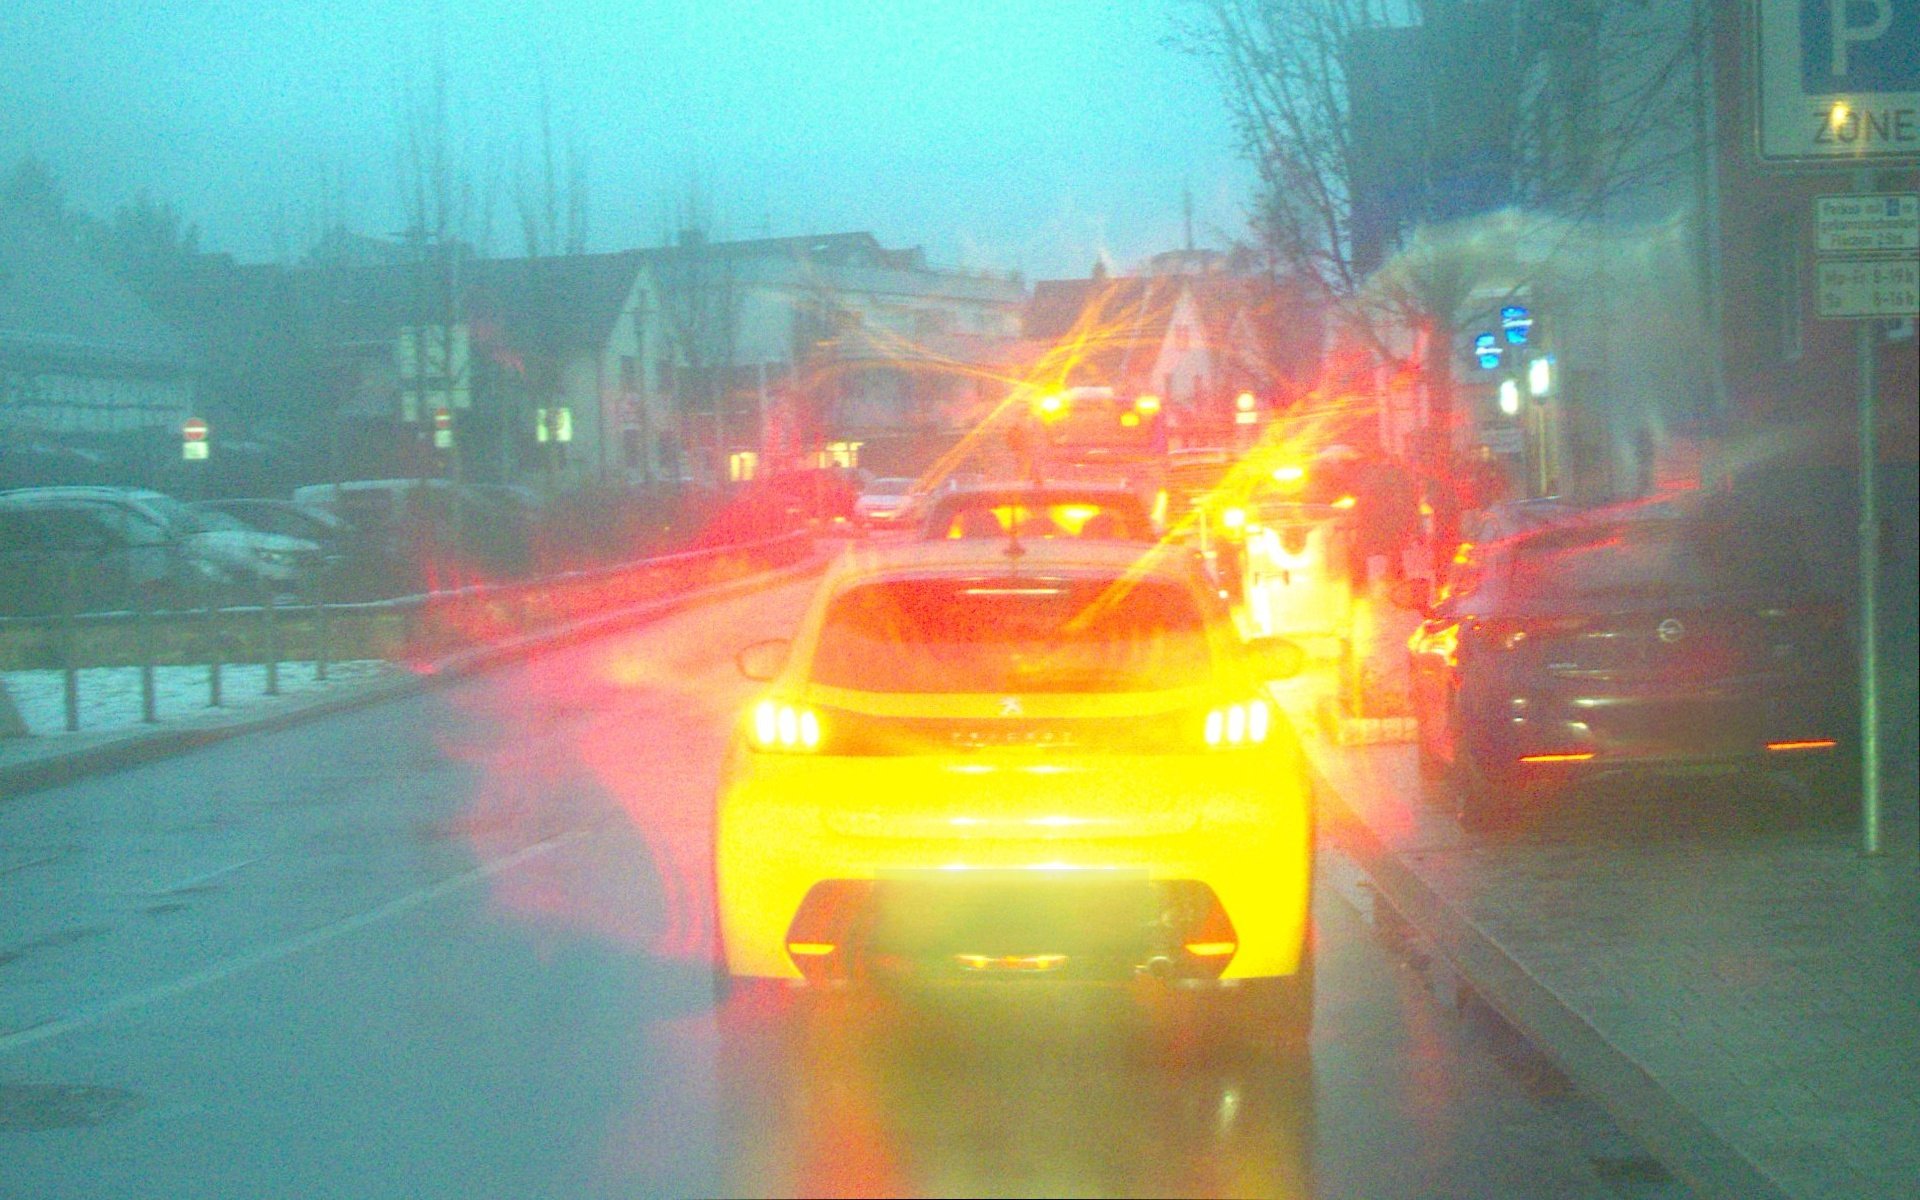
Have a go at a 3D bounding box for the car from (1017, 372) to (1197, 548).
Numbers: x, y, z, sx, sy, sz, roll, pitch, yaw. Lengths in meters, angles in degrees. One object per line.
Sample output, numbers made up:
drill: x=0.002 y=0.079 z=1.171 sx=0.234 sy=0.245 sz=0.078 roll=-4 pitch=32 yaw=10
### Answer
car: x=2.717 y=-2.547 z=64.371 sx=3.191 sy=3.021 sz=6.305 roll=0 pitch=0 yaw=2

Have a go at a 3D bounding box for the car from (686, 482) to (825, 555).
car: x=-6.416 y=-2.536 z=107.560 sx=1.994 sy=2.159 sz=4.383 roll=0 pitch=0 yaw=-44

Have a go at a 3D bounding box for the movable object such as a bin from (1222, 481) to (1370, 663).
movable object such as a bin: x=2.853 y=-0.258 z=29.347 sx=1.129 sy=1.415 sz=1.417 roll=-4 pitch=2 yaw=5

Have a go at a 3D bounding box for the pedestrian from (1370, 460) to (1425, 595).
pedestrian: x=5.600 y=-0.932 z=44.058 sx=0.573 sy=1.694 sz=0.653 roll=-3 pitch=1 yaw=4

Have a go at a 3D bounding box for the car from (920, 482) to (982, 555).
car: x=-0.256 y=-2.545 z=108.611 sx=1.919 sy=2.208 sz=3.975 roll=0 pitch=0 yaw=0

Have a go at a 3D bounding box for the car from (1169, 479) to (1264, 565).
car: x=5.744 y=-1.756 z=77.432 sx=1.998 sy=1.858 sz=4.083 roll=-1 pitch=1 yaw=3

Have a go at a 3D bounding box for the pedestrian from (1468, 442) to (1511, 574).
pedestrian: x=7.254 y=-1.263 z=47.090 sx=0.529 sy=1.794 sz=0.864 roll=0 pitch=2 yaw=12

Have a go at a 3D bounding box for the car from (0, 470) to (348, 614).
car: x=-8.811 y=-0.634 z=37.609 sx=3.795 sy=1.517 sz=1.714 roll=0 pitch=1 yaw=9

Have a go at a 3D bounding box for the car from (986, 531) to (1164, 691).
car: x=1.056 y=0.060 z=31.499 sx=1.541 sy=1.327 sz=3.311 roll=0 pitch=2 yaw=2

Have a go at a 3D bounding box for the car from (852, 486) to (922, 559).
car: x=-2.119 y=-2.255 z=100.729 sx=1.919 sy=2.020 sz=3.975 roll=0 pitch=0 yaw=0

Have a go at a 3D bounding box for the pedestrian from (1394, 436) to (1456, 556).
pedestrian: x=6.876 y=-1.541 z=50.809 sx=0.713 sy=1.709 sz=1.034 roll=-2 pitch=2 yaw=16

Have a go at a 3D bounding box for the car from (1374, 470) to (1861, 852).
car: x=2.988 y=0.180 z=16.421 sx=1.728 sy=1.459 sz=4.198 roll=-4 pitch=2 yaw=4

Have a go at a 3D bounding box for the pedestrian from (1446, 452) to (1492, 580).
pedestrian: x=6.672 y=-1.091 z=45.053 sx=0.529 sy=1.647 sz=0.953 roll=0 pitch=0 yaw=12

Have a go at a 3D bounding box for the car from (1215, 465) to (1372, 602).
car: x=4.385 y=-0.911 z=45.693 sx=1.735 sy=1.686 sz=4.386 roll=-2 pitch=2 yaw=2

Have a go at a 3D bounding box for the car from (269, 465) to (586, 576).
car: x=-8.276 y=-1.244 z=53.749 sx=4.625 sy=1.662 sz=2.000 roll=-1 pitch=1 yaw=0

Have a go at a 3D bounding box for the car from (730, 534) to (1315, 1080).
car: x=0.223 y=0.523 z=10.714 sx=1.563 sy=1.407 sz=3.018 roll=0 pitch=2 yaw=2

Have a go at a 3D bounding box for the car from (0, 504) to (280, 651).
car: x=-8.787 y=-0.231 z=34.739 sx=3.445 sy=1.367 sz=1.601 roll=-2 pitch=2 yaw=2

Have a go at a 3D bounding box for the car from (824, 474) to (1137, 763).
car: x=0.177 y=0.037 z=21.218 sx=1.766 sy=1.622 sz=3.586 roll=0 pitch=2 yaw=2
